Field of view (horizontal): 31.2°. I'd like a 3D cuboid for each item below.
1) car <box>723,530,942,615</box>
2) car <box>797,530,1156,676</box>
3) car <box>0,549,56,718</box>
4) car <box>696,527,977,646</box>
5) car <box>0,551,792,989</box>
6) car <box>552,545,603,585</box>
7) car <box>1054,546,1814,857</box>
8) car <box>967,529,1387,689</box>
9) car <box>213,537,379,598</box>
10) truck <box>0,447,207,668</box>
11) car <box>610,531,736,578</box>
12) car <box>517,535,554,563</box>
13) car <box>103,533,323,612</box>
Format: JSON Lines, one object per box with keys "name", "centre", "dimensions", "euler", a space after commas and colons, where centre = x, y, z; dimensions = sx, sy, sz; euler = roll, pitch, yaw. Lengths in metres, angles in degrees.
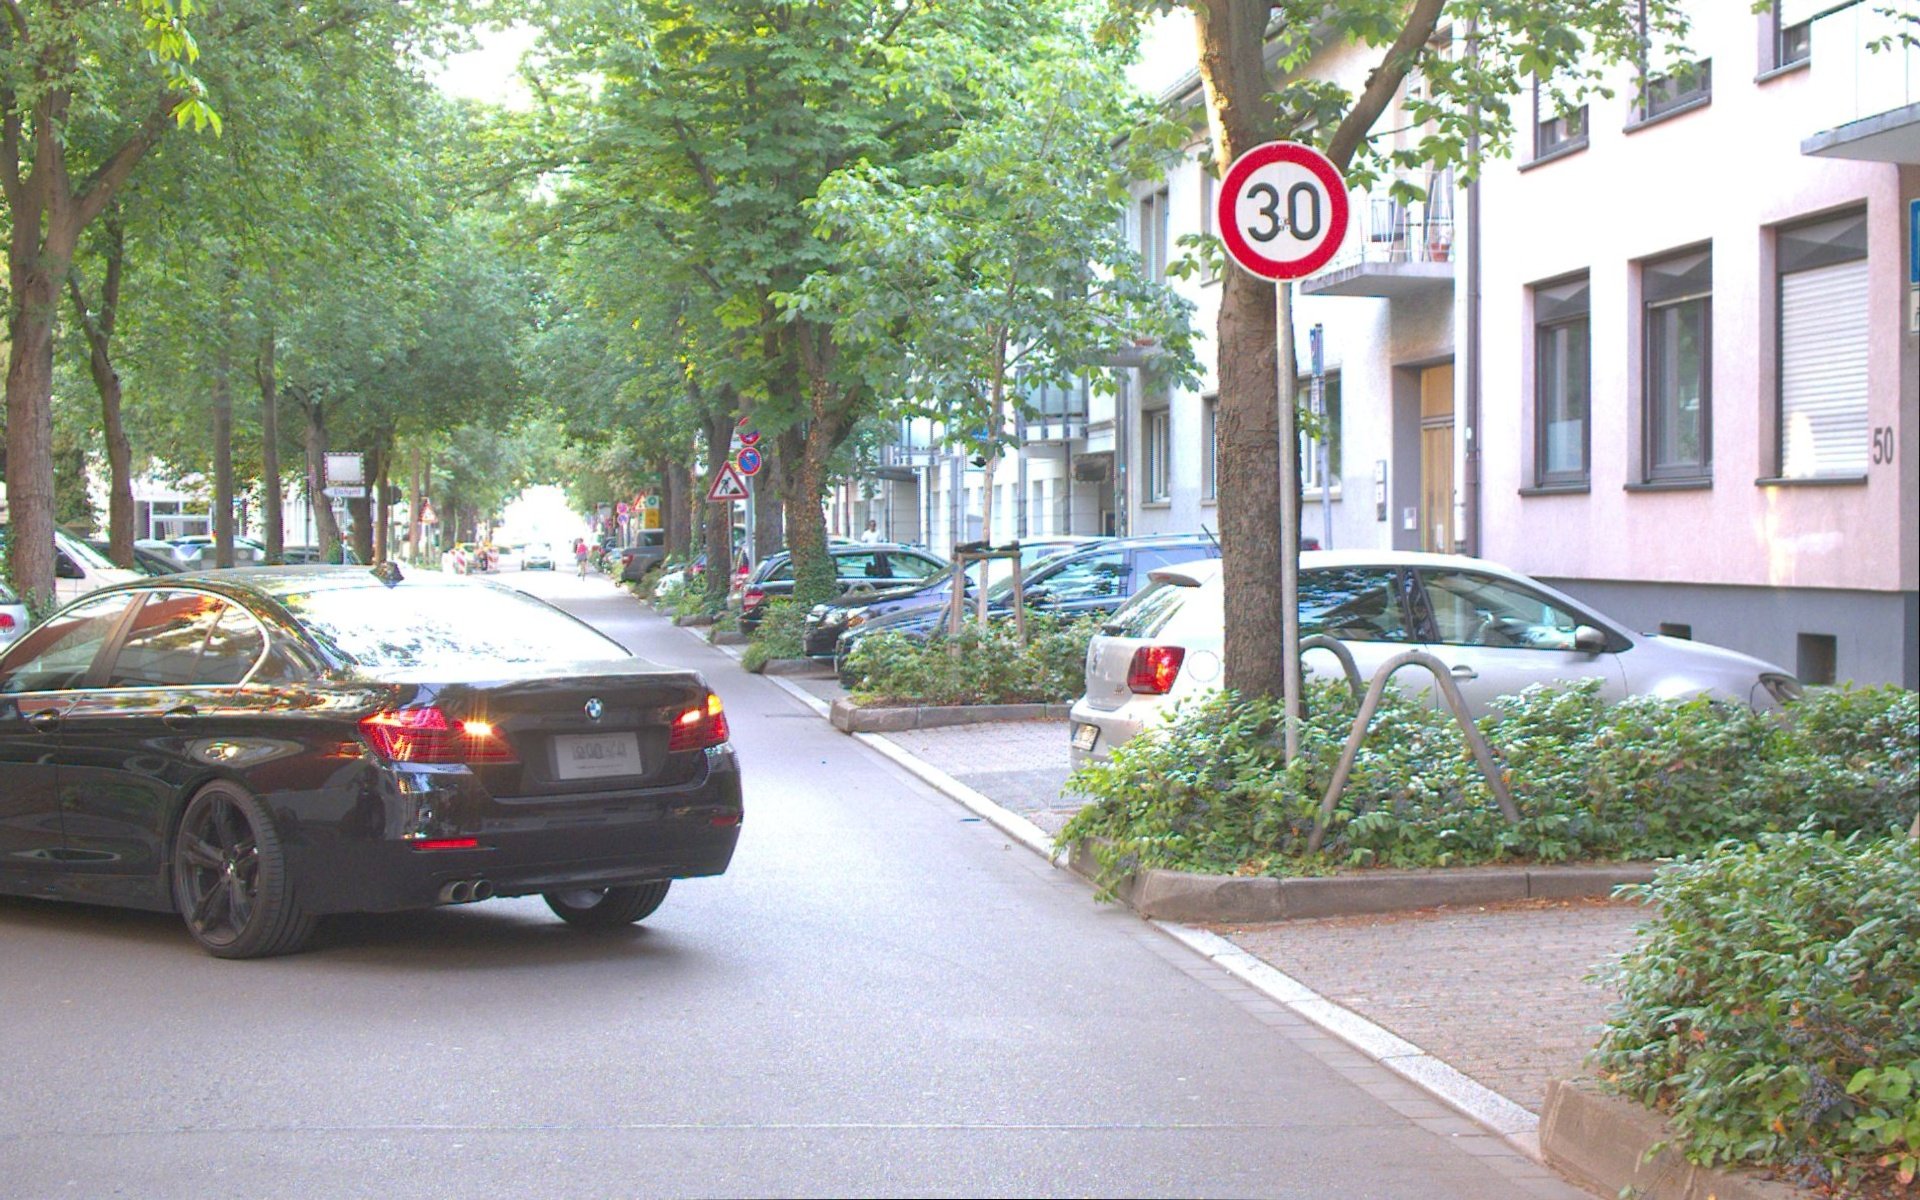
{"name": "car", "centre": [-2.249, -0.494, 60.098], "dimensions": [3.656, 1.388, 1.566], "euler": [-1, 1, -8]}
{"name": "car", "centre": [0.155, 0.010, 38.386], "dimensions": [3.791, 1.524, 1.566], "euler": [-1, 1, -8]}
{"name": "car", "centre": [-10.336, 0.258, 30.774], "dimensions": [4.131, 1.466, 1.640], "euler": [1, 1, -7]}
{"name": "car", "centre": [-1.706, -0.203, 46.867], "dimensions": [3.656, 1.531, 1.566], "euler": [-1, 1, -8]}
{"name": "car", "centre": [-2.886, 0.540, 13.842], "dimensions": [1.763, 1.445, 4.665], "euler": [-1, 2, -44]}
{"name": "car", "centre": [-15.275, -1.400, 137.215], "dimensions": [1.993, 1.546, 4.001], "euler": [0, 1, -7]}
{"name": "car", "centre": [2.442, 0.486, 18.103], "dimensions": [3.656, 1.474, 1.566], "euler": [-1, 1, -8]}
{"name": "car", "centre": [1.997, 0.060, 32.138], "dimensions": [3.656, 1.388, 1.566], "euler": [-1, 1, -8]}
{"name": "car", "centre": [-16.853, -0.835, 87.352], "dimensions": [4.020, 1.466, 1.640], "euler": [1, 1, -7]}
{"name": "truck", "centre": [-11.229, -0.526, 39.086], "dimensions": [4.998, 2.432, 1.916], "euler": [1, 2, -5]}
{"name": "car", "centre": [-8.597, -1.375, 102.930], "dimensions": [3.656, 1.388, 1.566], "euler": [0, 1, -8]}
{"name": "car", "centre": [-22.842, -2.768, 185.201], "dimensions": [1.894, 1.470, 4.001], "euler": [0, 1, -6]}
{"name": "car", "centre": [-14.459, -0.535, 66.724], "dimensions": [4.020, 1.466, 1.640], "euler": [1, 1, -7]}
